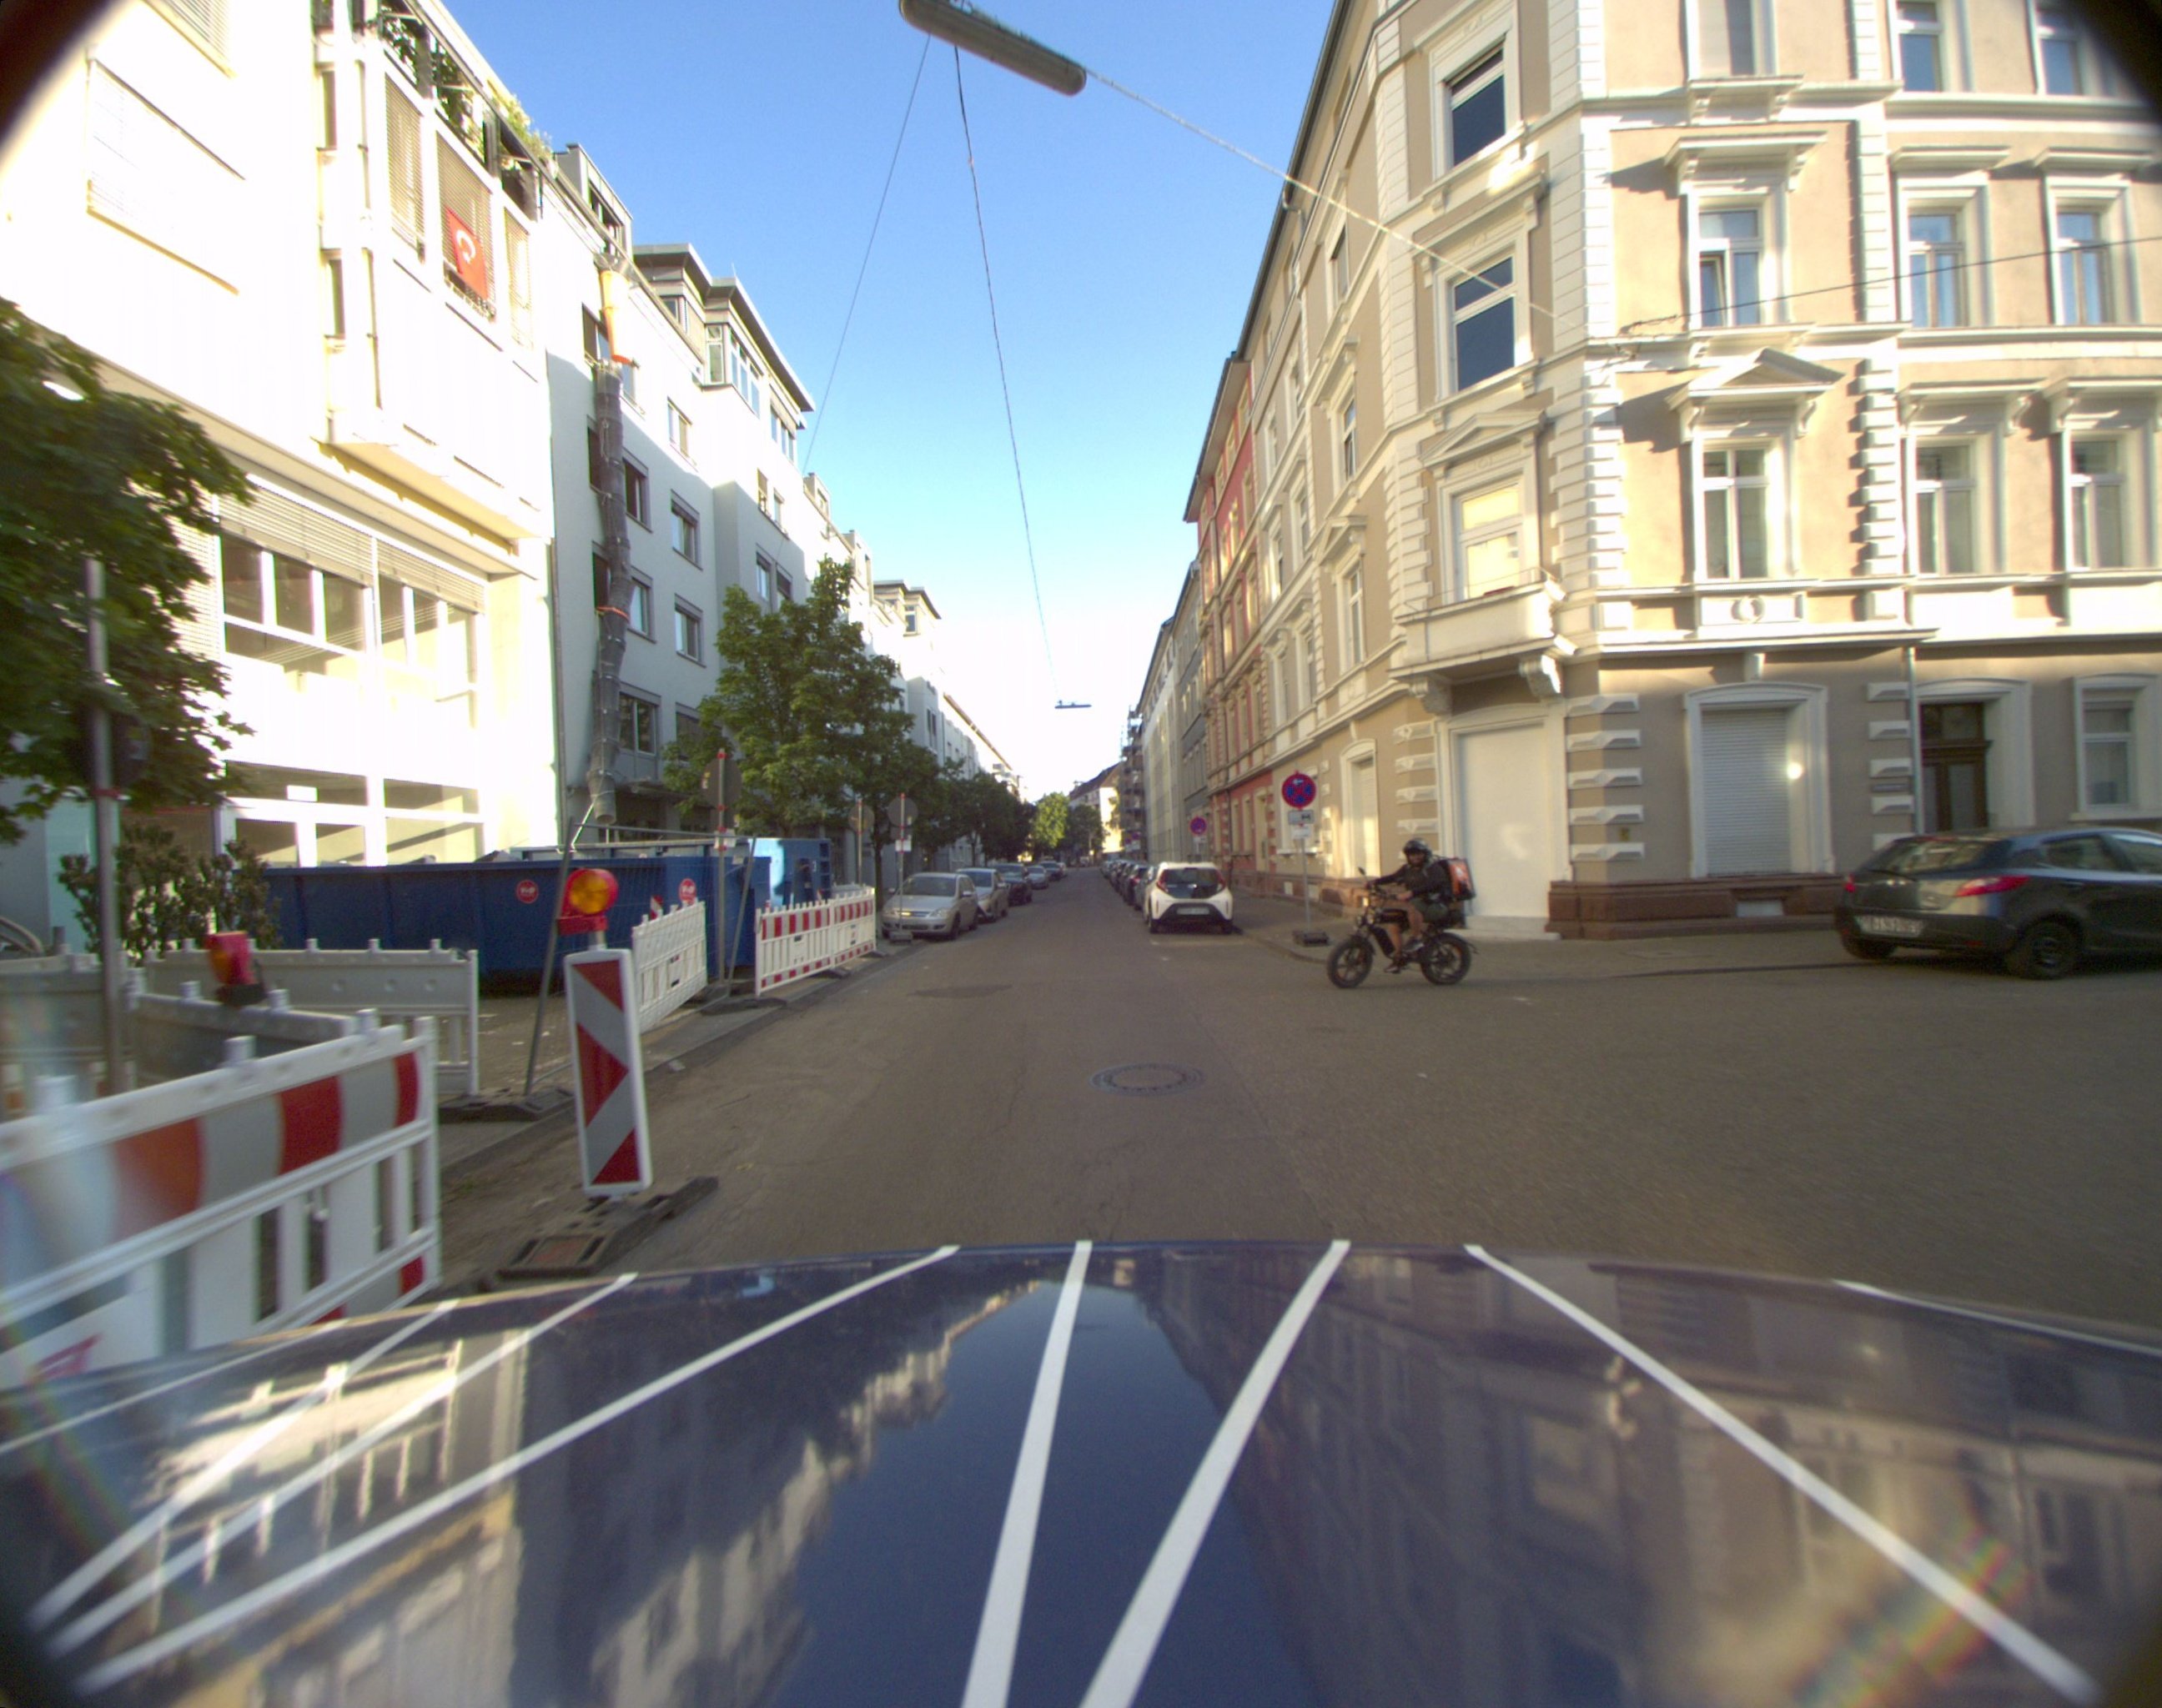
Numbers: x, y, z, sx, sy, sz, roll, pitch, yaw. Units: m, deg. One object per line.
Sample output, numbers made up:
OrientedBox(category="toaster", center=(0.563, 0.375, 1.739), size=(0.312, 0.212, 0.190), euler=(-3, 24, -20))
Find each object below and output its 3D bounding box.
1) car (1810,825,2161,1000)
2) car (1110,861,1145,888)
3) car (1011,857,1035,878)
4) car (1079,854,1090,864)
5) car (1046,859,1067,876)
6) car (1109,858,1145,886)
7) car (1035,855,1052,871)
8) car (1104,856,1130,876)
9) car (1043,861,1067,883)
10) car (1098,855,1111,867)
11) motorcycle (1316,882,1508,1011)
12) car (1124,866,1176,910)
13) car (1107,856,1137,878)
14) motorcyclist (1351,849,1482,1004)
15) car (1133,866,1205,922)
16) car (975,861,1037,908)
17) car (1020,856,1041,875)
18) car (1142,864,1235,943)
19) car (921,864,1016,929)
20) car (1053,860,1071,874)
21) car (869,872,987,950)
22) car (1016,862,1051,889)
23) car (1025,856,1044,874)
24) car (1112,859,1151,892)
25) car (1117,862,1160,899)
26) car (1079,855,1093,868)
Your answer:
OrientedBox(category="car", center=(10.146, 0.507, 7.918), size=(3.588, 1.471, 1.686), euler=(-3, 0, -5))
OrientedBox(category="car", center=(2.703, 1.158, 44.626), size=(1.662, 1.420, 4.353), euler=(-3, 0, -1))
OrientedBox(category="car", center=(-5.859, 1.337, 76.850), size=(1.999, 2.002, 4.000), euler=(-3, 0, 0))
OrientedBox(category="car", center=(0.675, 0.976, 147.294), size=(1.998, 1.783, 4.000), euler=(-3, 0, 1))
OrientedBox(category="car", center=(-2.422, 1.338, 76.581), size=(1.903, 1.509, 4.224), euler=(-3, 0, 0))
OrientedBox(category="car", center=(2.958, 1.133, 49.740), size=(1.999, 1.639, 4.493), euler=(-3, 0, 0))
OrientedBox(category="car", center=(-5.093, 1.228, 103.561), size=(1.999, 2.002, 4.000), euler=(-3, 0, 0))
OrientedBox(category="car", center=(3.004, 1.006, 64.363), size=(1.998, 1.566, 4.149), euler=(-3, 0, 1))
OrientedBox(category="car", center=(-2.183, 1.491, 64.342), size=(1.855, 1.649, 3.999), euler=(-3, 0, -1))
OrientedBox(category="car", center=(3.622, 1.073, 117.540), size=(1.998, 1.783, 4.000), euler=(-3, 0, 1))
OrientedBox(category="motorcycle", center=(3.583, 0.990, 8.373), size=(1.696, 1.242, 0.807), euler=(-4, -2, 7))
OrientedBox(category="car", center=(2.429, 1.174, 27.550), size=(1.589, 1.407, 3.912), euler=(1, 0, 1))
OrientedBox(category="car", center=(3.200, 0.996, 59.659), size=(1.999, 1.575, 4.493), euler=(-3, 0, 0))
OrientedBox(category="motorcyclist", center=(3.662, 0.776, 8.394), size=(0.998, 1.558, 0.875), euler=(-4, -2, 7))
OrientedBox(category="car", center=(2.452, 1.099, 22.054), size=(1.613, 1.419, 3.962), euler=(0, 0, 0))
OrientedBox(category="car", center=(-3.015, 1.189, 31.383), size=(1.863, 1.679, 4.391), euler=(-3, 0, 2))
OrientedBox(category="car", center=(-5.687, 1.323, 86.351), size=(1.999, 2.002, 4.000), euler=(-3, 0, 0))
OrientedBox(category="car", center=(2.304, 1.014, 17.160), size=(1.688, 1.487, 3.845), euler=(1, 0, 2))
OrientedBox(category="car", center=(-3.205, 1.173, 22.429), size=(1.912, 1.575, 4.001), euler=(-3, 0, 3))
OrientedBox(category="car", center=(-2.060, 1.434, 84.334), size=(1.855, 1.480, 4.000), euler=(-3, 0, 0))
OrientedBox(category="car", center=(-3.427, 1.230, 17.779), size=(1.638, 1.438, 4.067), euler=(-3, 0, 3))
OrientedBox(category="car", center=(-2.924, 1.298, 47.635), size=(1.855, 1.480, 4.000), euler=(-3, 0, 0))
OrientedBox(category="car", center=(-5.544, 1.263, 90.840), size=(1.999, 2.002, 4.000), euler=(-3, 0, 0))
OrientedBox(category="car", center=(2.522, 1.048, 38.692), size=(1.597, 1.513, 4.430), euler=(-3, 0, 0))
OrientedBox(category="car", center=(2.500, 1.136, 33.899), size=(1.537, 1.489, 4.195), euler=(-1, 0, -1))
OrientedBox(category="car", center=(0.817, 1.179, 119.863), size=(1.998, 1.783, 4.000), euler=(-3, 0, 1))
